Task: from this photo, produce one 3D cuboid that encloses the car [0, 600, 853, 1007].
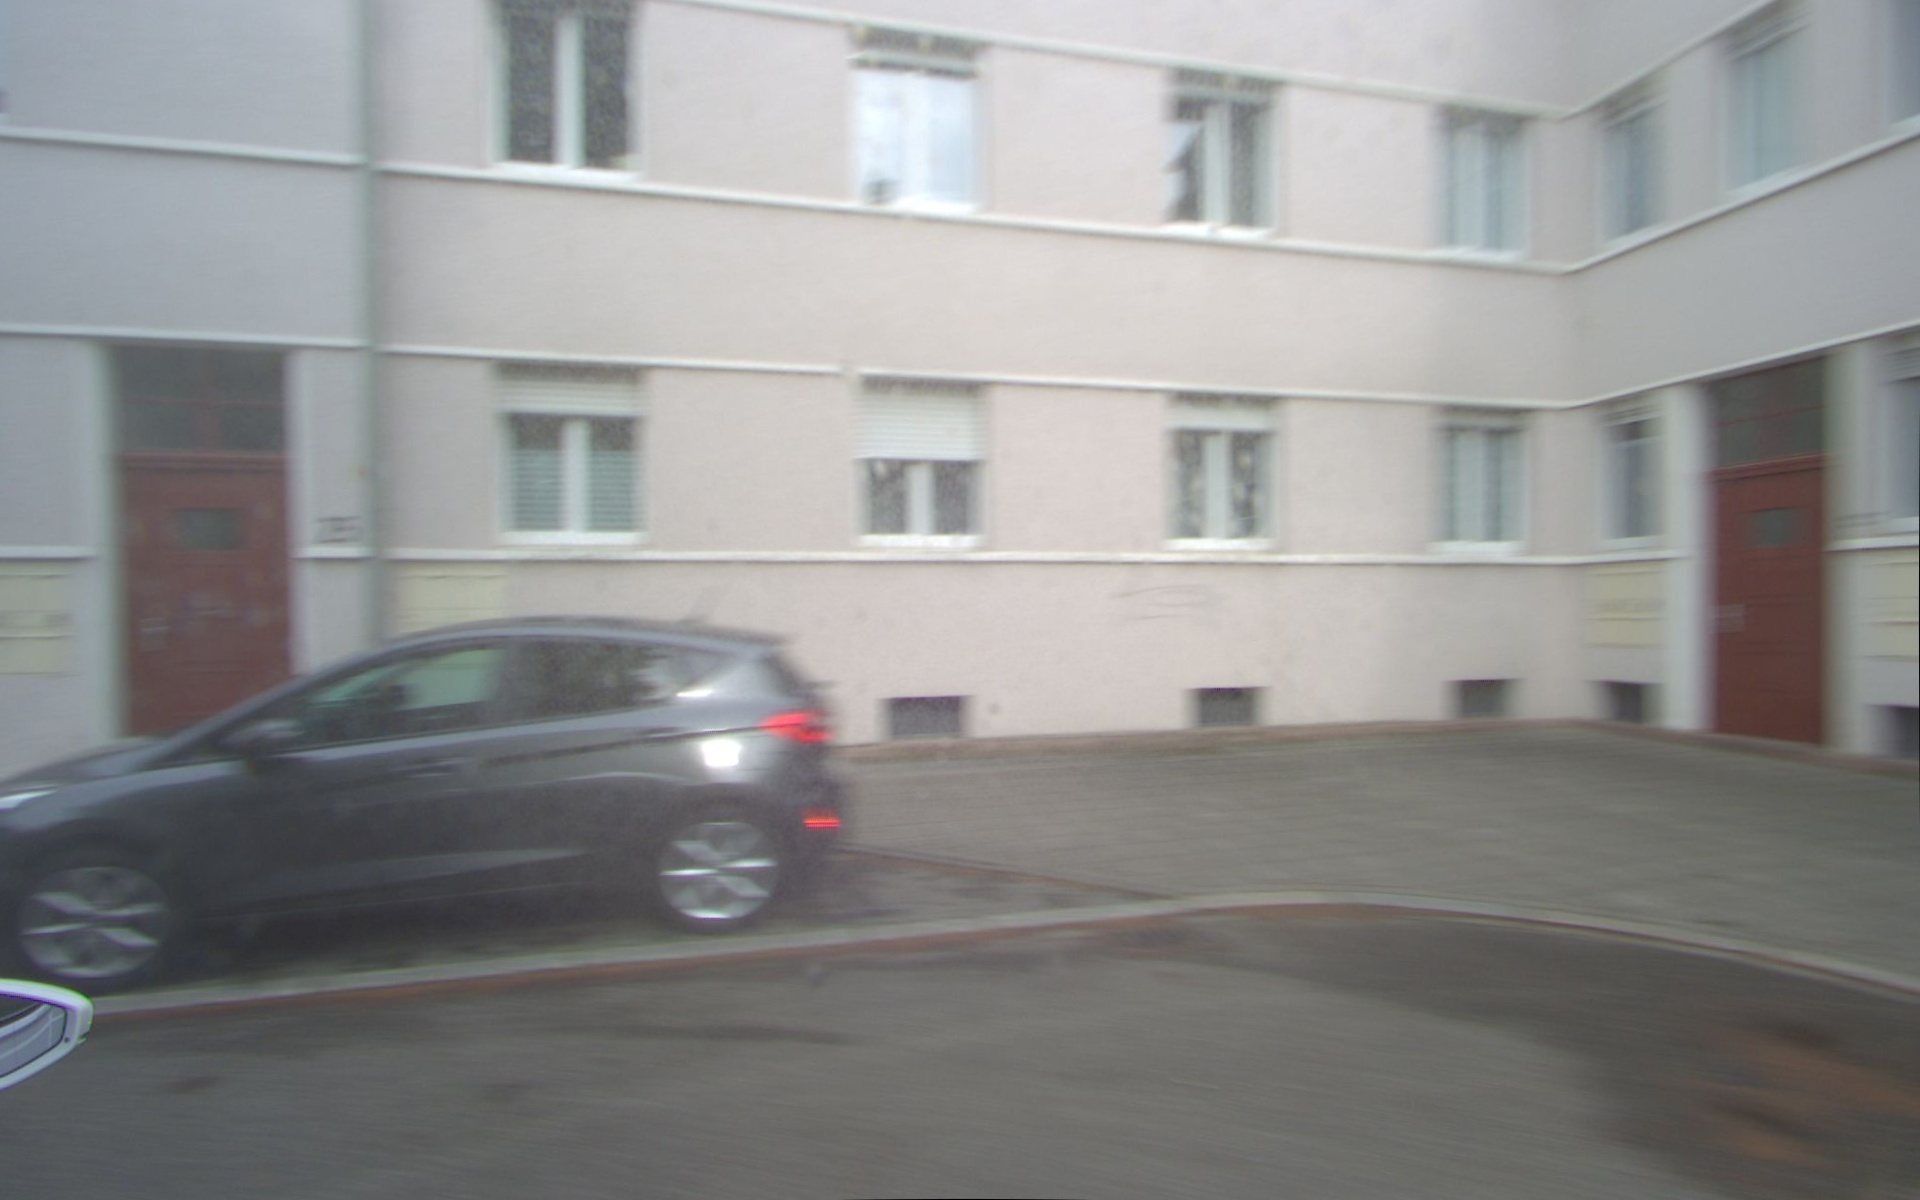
[{"bbox_3d":[-2.654,0.793,5.005,4.005,1.545,1.759,0,1,-15],"label":"car"}]
